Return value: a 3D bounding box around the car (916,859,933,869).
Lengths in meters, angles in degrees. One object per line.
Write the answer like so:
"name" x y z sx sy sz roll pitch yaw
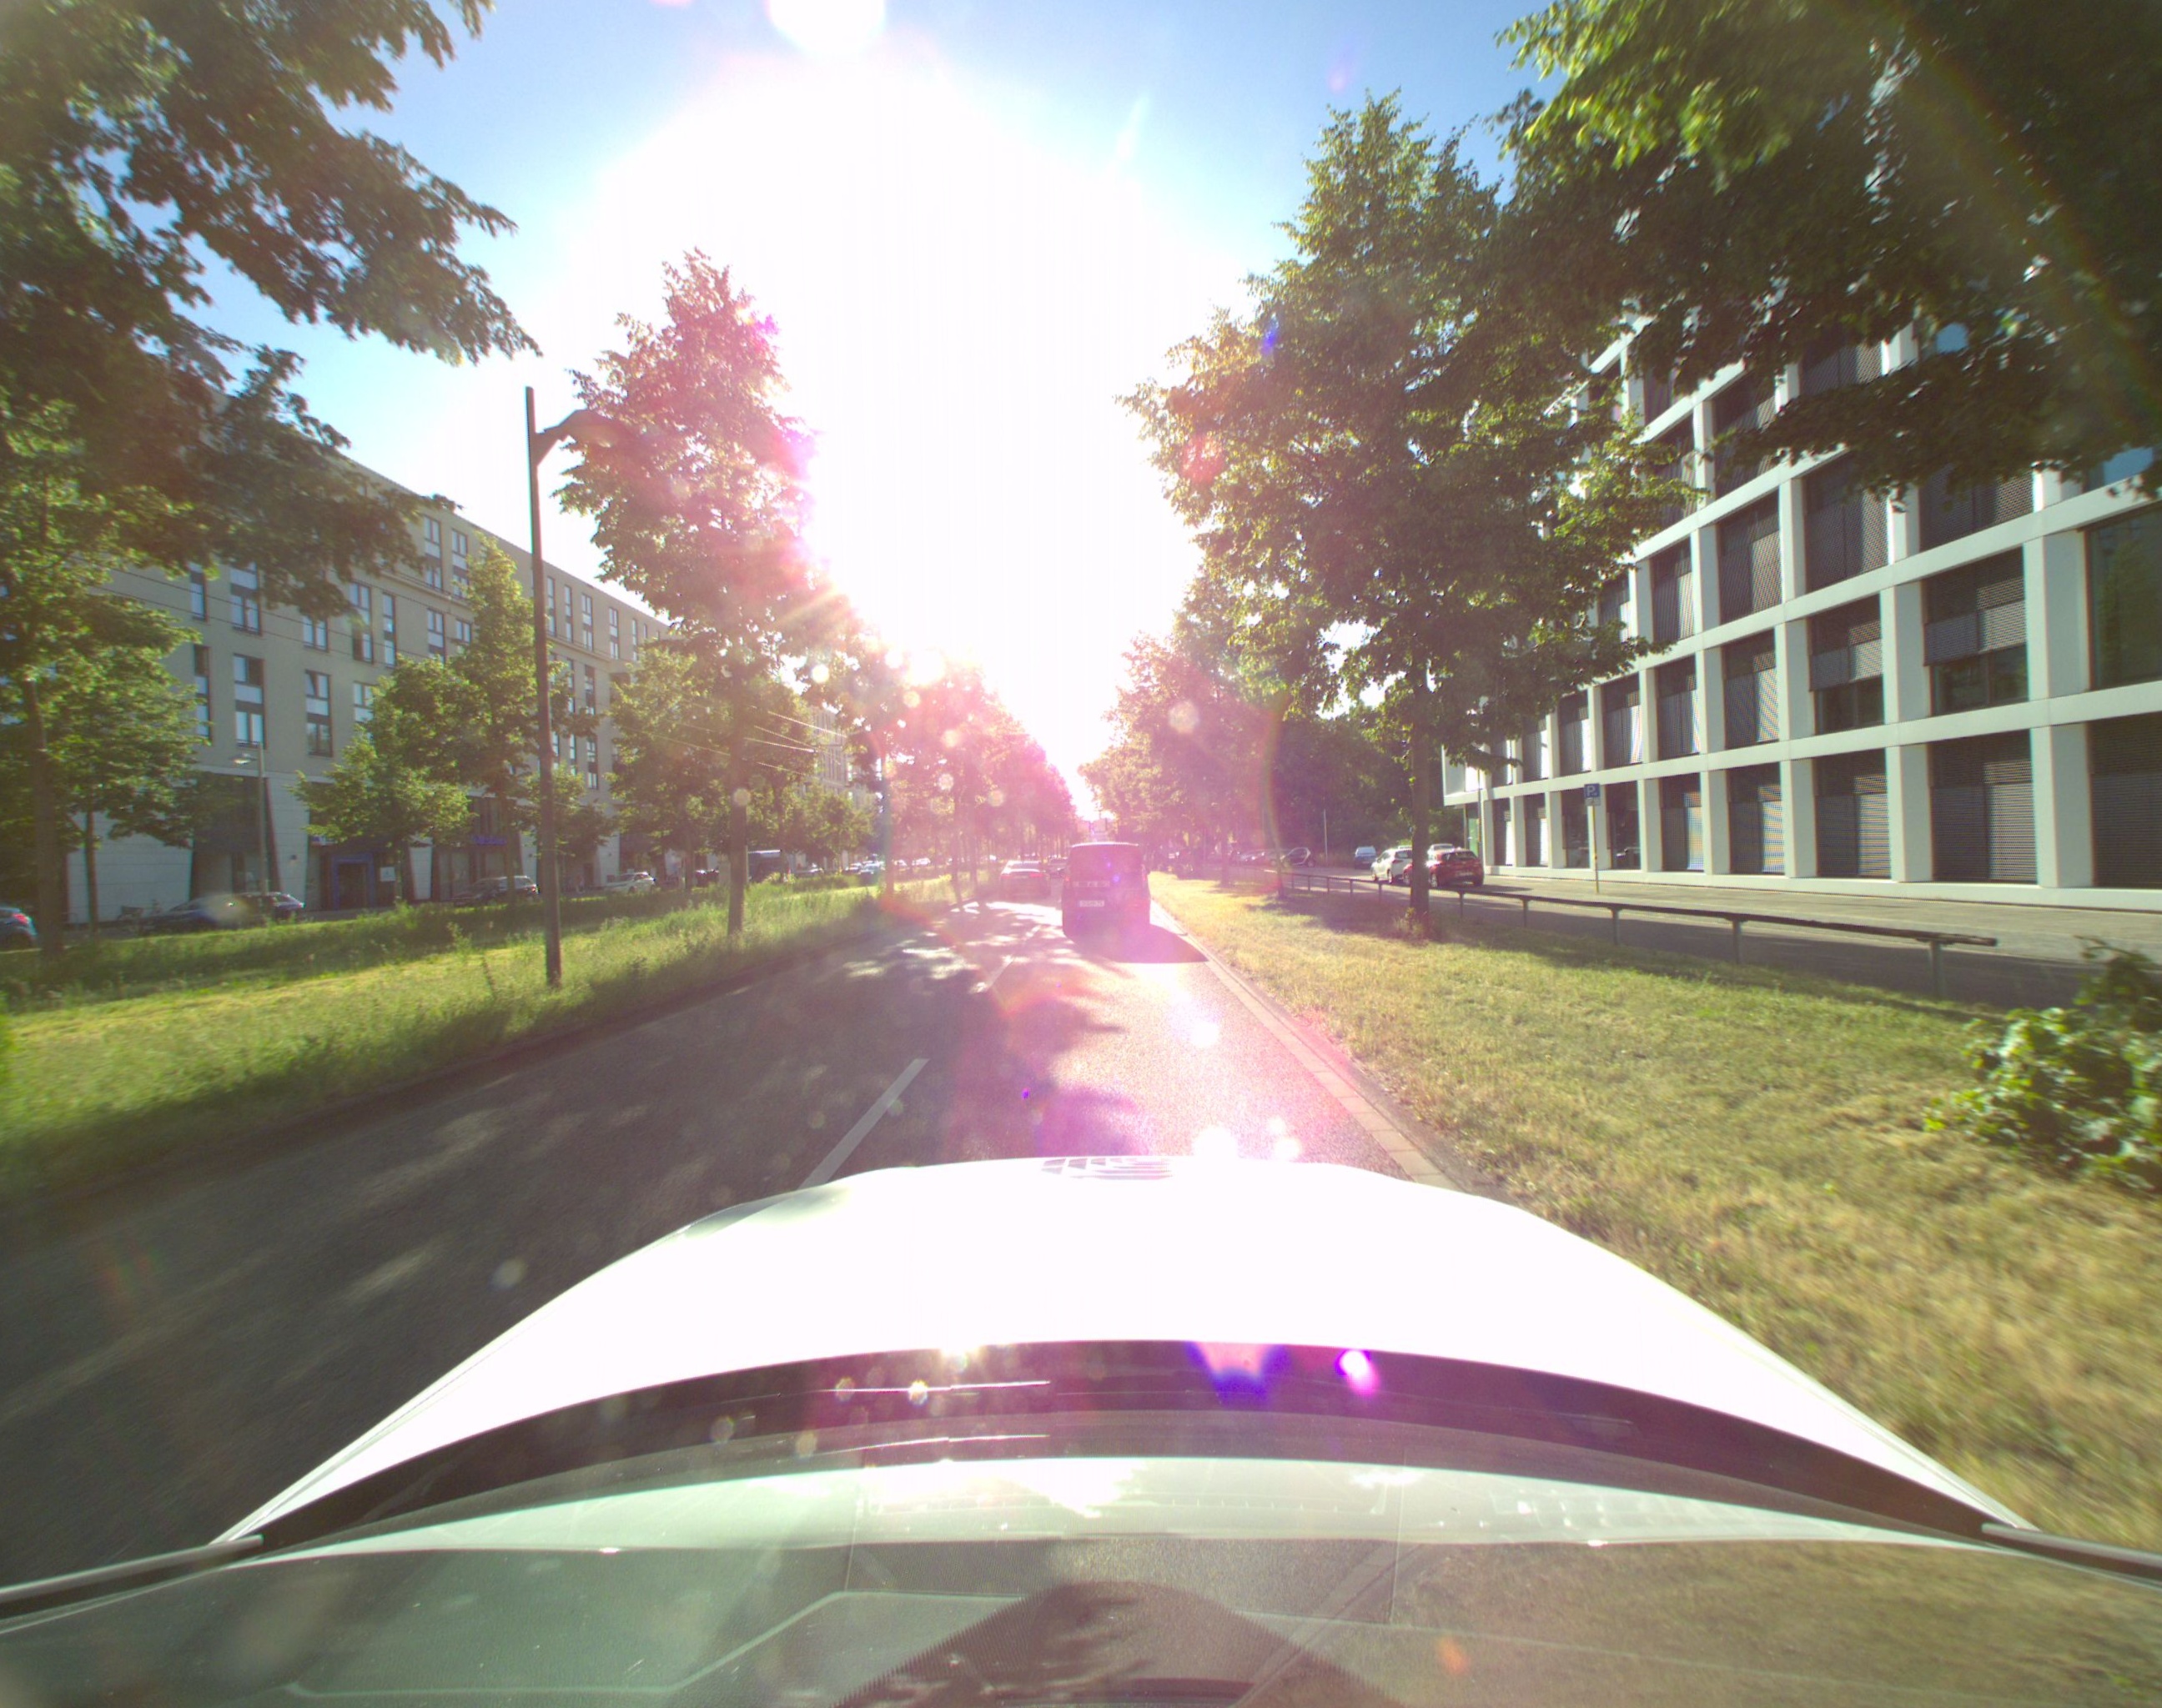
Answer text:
"car" -27.753 1.738 144.470 1.987 1.772 4.774 0 0 -1

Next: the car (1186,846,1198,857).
"car" 21.682 -0.446 158.775 2.076 2.013 4.951 -1 0 6

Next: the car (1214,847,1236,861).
"car" 16.986 0.020 96.036 1.986 1.574 4.001 0 0 1

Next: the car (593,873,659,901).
"car" -30.177 2.146 54.155 1.988 1.729 4.336 0 0 -1

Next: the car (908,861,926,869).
"car" -27.769 1.874 138.059 1.950 1.441 4.267 0 0 2

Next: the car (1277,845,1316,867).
"car" 16.692 0.176 63.079 2.748 1.550 1.466 -3 -1 10

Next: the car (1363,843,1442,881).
"car" 14.443 0.343 36.832 1.985 1.486 4.407 -5 -1 4

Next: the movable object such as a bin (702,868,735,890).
"movable object such as a bin" -29.385 2.015 66.020 1.964 1.794 1.555 0 -1 -1

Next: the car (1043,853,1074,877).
"car" -1.567 0.791 57.618 1.986 1.618 4.001 0 0 2

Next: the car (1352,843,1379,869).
"car" 19.635 0.132 56.127 1.579 1.545 3.840 -3 1 21

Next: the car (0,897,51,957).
"car" -30.828 2.075 21.533 1.986 1.572 4.001 -2 0 2

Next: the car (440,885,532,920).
"car" -30.034 2.417 41.260 1.554 1.480 4.268 -2 0 -2

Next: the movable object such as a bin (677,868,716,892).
"movable object such as a bin" -29.328 1.989 62.160 1.964 1.794 2.009 0 -1 -1

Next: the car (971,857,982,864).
"car" -26.266 1.675 205.385 1.985 1.608 4.614 0 0 3

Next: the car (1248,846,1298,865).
"car" 17.934 0.142 76.101 4.180 1.498 1.781 -3 0 -2

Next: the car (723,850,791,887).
"car" -21.741 0.939 54.951 2.500 2.381 6.020 0 0 -4

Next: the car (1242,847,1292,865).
"car" 18.134 0.174 79.482 4.318 1.477 1.905 -4 1 -3

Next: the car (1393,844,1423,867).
"car" 22.246 0.106 55.499 1.732 1.536 3.901 -1 0 20

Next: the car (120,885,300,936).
"car" -30.589 1.935 28.825 1.718 1.413 4.334 -2 0 -2

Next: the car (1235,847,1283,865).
"car" 17.959 0.208 82.220 4.361 1.411 2.002 -6 0 3

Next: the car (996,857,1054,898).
"car" -2.069 0.848 30.994 1.785 1.428 4.001 0 0 2

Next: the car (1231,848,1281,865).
"car" 18.280 0.248 85.098 4.702 1.406 2.001 -5 0 1

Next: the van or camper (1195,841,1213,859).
"van or camper" 20.539 -0.660 136.676 2.543 2.684 6.576 -4 0 6

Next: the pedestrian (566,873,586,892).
"pedestrian" -38.556 2.162 62.157 0.946 1.468 1.025 0 -1 -8

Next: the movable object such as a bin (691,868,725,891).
"movable object such as a bin" -29.400 2.003 64.218 1.964 1.794 1.555 0 -1 -1

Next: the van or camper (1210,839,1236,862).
"van or camper" 17.720 -0.402 101.731 1.988 2.731 4.961 -5 0 -1

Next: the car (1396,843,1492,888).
"car" 14.068 0.434 31.849 1.858 1.486 4.274 -5 -1 2

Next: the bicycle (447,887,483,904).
"bicycle" -37.299 2.513 49.322 0.614 0.988 1.851 0 0 7

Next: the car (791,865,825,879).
"car" -29.330 1.941 87.575 1.988 1.441 4.923 0 0 -1

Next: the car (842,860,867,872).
"car" -28.867 1.553 103.934 1.988 1.441 4.777 0 0 -1

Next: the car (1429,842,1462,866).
"car" 24.356 0.004 54.556 1.703 1.540 3.970 -1 0 20

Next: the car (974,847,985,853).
"car" -24.113 -0.870 193.183 1.905 1.325 4.614 0 0 3

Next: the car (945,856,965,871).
"car" -17.499 1.258 113.203 1.984 2.014 4.005 0 0 4

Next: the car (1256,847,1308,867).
"car" 17.383 0.247 70.700 4.064 1.468 1.716 -3 -1 2

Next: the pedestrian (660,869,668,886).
"pedestrian" -38.418 2.134 75.085 0.496 1.549 0.525 -1 -1 43

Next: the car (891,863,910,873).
"car" -28.228 2.165 127.203 1.988 1.441 4.454 0 0 -1

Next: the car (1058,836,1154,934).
"car" 0.438 0.589 17.401 1.803 1.838 3.998 0 0 -1

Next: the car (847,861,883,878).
"car" -18.728 1.344 70.808 1.987 1.441 4.455 0 0 0
